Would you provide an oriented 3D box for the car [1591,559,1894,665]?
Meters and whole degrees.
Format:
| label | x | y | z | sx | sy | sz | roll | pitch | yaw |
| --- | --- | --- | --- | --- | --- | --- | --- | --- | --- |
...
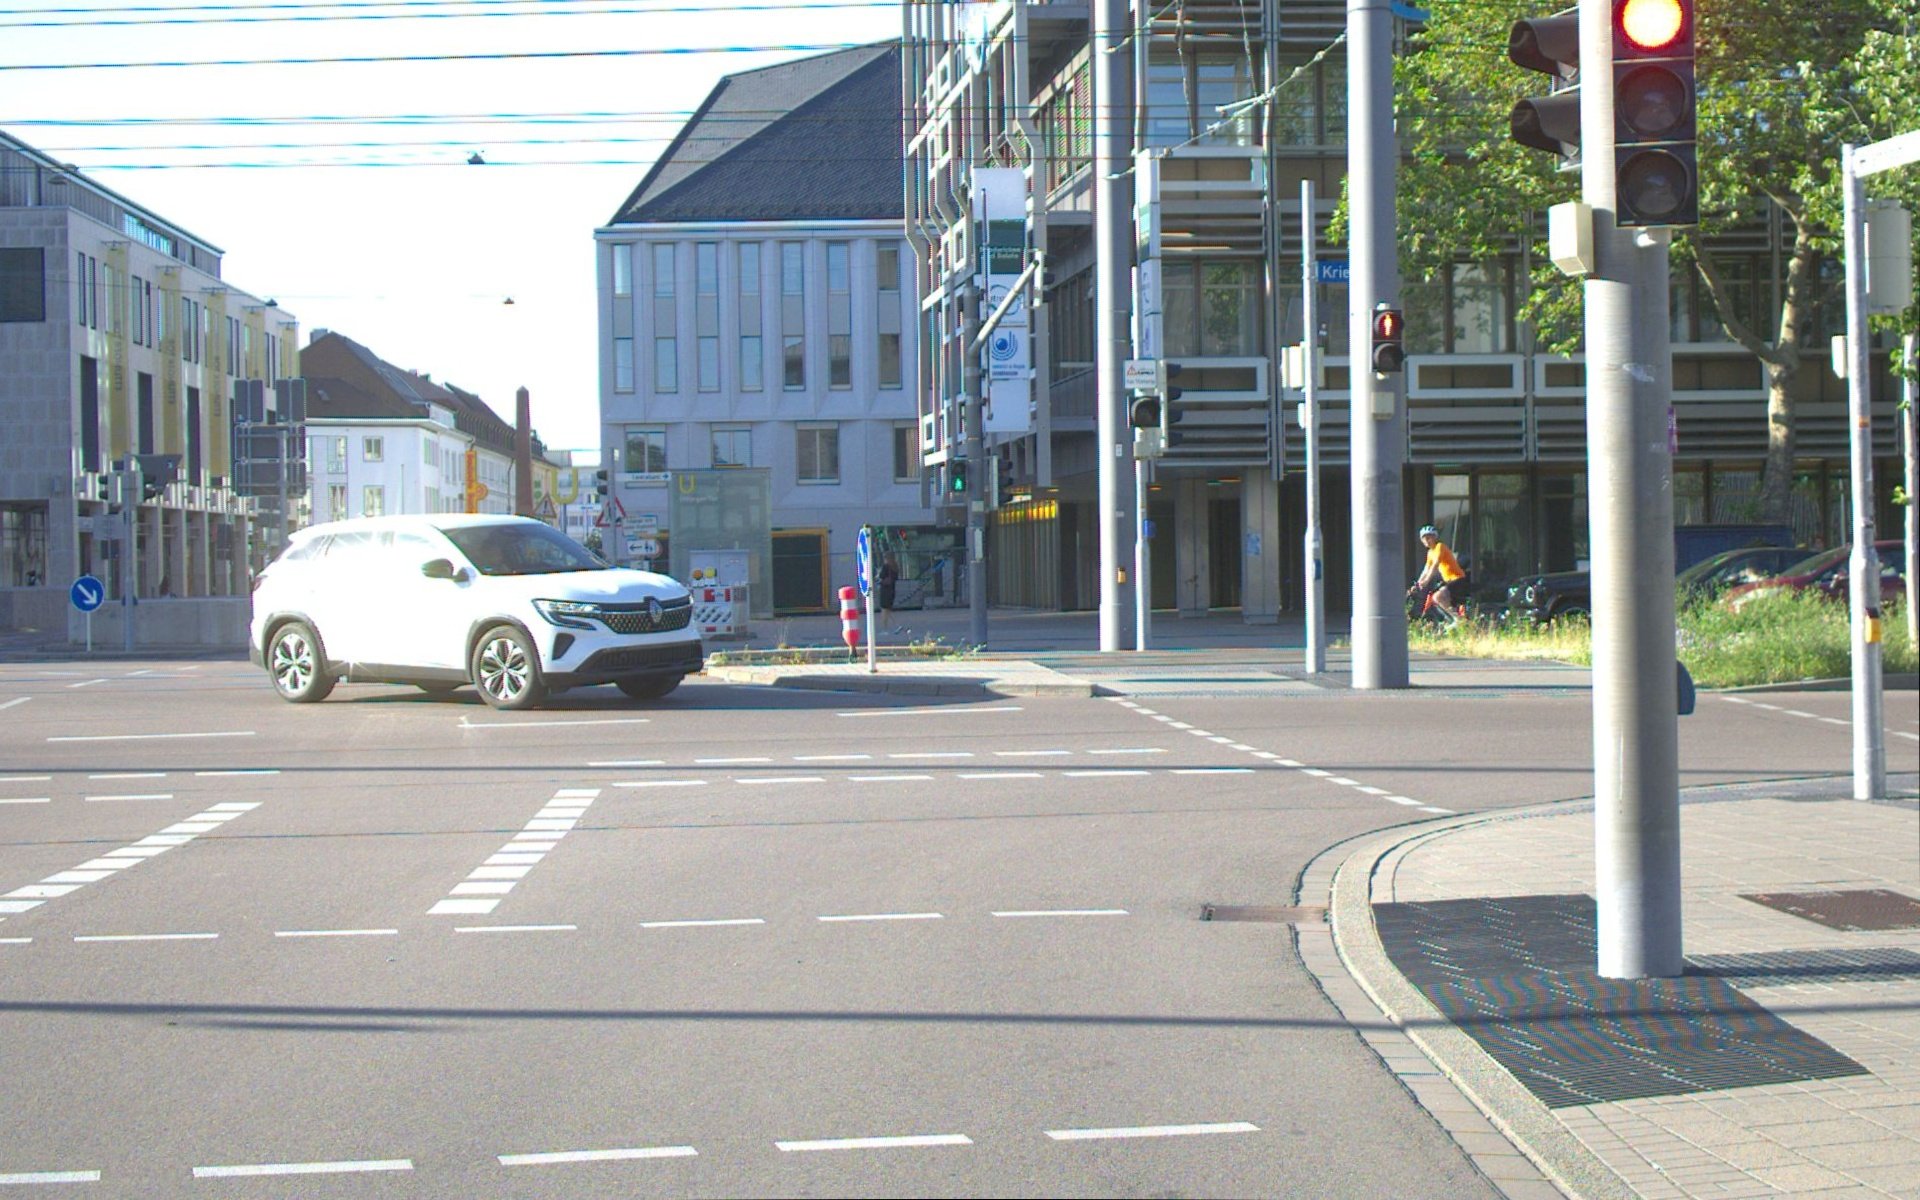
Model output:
| label | x | y | z | sx | sy | sz | roll | pitch | yaw |
| --- | --- | --- | --- | --- | --- | --- | --- | --- | --- |
| car | 11.495 | 0.159 | 50.662 | 3.986 | 1.503 | 1.868 | 0 | 1 | -3 |

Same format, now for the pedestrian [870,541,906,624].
| label | x | y | z | sx | sy | sz | roll | pitch | yaw |
| --- | --- | --- | --- | --- | --- | --- | --- | --- | --- |
| pedestrian | -1.457 | -0.356 | 69.515 | 0.663 | 1.652 | 0.755 | -1 | 1 | -3 |

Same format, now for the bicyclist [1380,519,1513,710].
| label | x | y | z | sx | sy | sz | roll | pitch | yaw |
| --- | --- | --- | --- | --- | --- | --- | --- | --- | --- |
| bicyclist | 6.663 | 0.191 | 47.141 | 1.567 | 2.571 | 0.932 | -1 | 1 | -9 |

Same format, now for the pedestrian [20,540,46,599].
| label | x | y | z | sx | sy | sz | roll | pitch | yaw |
| --- | --- | --- | --- | --- | --- | --- | --- | --- | --- |
| pedestrian | -31.998 | -1.049 | 118.677 | 0.626 | 2.007 | 0.733 | -1 | 1 | 2 |

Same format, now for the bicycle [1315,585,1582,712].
| label | x | y | z | sx | sy | sz | roll | pitch | yaw |
| --- | --- | --- | --- | --- | --- | --- | --- | --- | --- |
| bicycle | 6.694 | 0.650 | 47.147 | 3.490 | 1.653 | 0.932 | -1 | 1 | -9 |

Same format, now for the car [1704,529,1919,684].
| label | x | y | z | sx | sy | sz | roll | pitch | yaw |
| --- | --- | --- | --- | --- | --- | --- | --- | --- | --- |
| car | 12.288 | 0.088 | 46.410 | 3.986 | 2.007 | 2.000 | 1 | 0 | -3 |

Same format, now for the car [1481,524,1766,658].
| label | x | y | z | sx | sy | sz | roll | pitch | yaw |
| --- | --- | --- | --- | --- | --- | --- | --- | --- | --- |
| car | 10.346 | -0.143 | 53.778 | 3.986 | 2.007 | 2.000 | 1 | 0 | -3 |

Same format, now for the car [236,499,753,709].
| label | x | y | z | sx | sy | sz | roll | pitch | yaw |
| --- | --- | --- | --- | --- | --- | --- | --- | --- | --- |
| car | -4.052 | 0.001 | 29.546 | 4.402 | 1.654 | 1.995 | 0 | 2 | 42 |
